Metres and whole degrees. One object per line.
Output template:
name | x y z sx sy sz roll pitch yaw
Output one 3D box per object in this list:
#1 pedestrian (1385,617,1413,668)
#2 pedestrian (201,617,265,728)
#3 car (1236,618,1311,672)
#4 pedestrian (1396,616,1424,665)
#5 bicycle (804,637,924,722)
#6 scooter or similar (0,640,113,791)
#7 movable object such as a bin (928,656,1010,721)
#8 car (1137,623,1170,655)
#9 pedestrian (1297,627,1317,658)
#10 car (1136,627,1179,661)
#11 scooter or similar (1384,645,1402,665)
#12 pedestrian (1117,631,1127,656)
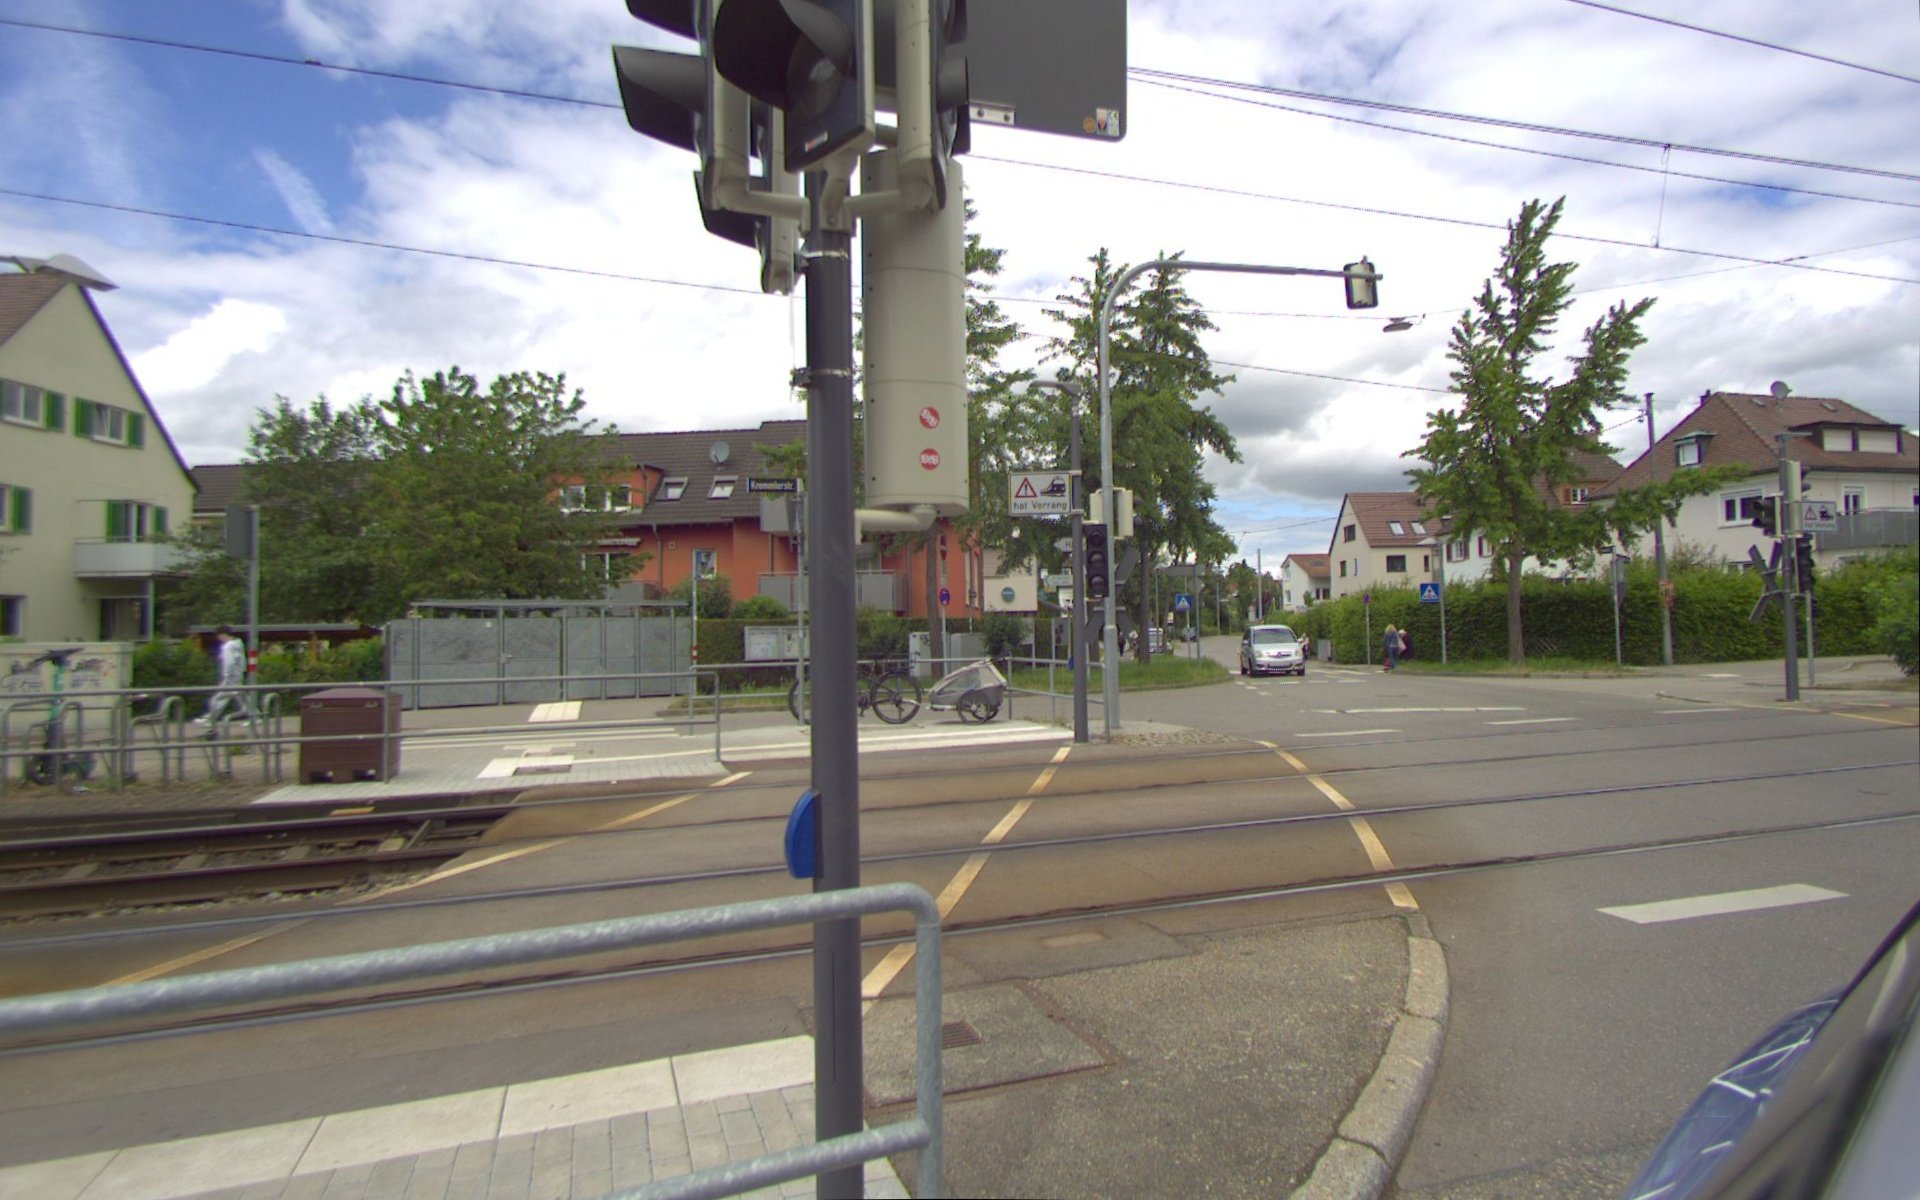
pedestrian | 14.764 1.428 34.047 0.595 1.641 0.668 -6 -4 40
pedestrian | -13.082 1.280 18.222 0.817 1.940 0.624 2 -3 -45
car | 9.970 1.425 32.425 1.699 1.588 3.915 -2 -2 9
pedestrian | 15.406 1.393 34.676 0.595 1.641 0.668 -6 -4 40
bicycle | -1.376 1.137 14.574 1.661 1.171 0.466 -1 -2 2
scooter or similar | -8.579 1.049 9.584 0.479 1.333 1.053 1 -2 -19
movable object such as a bin | 0.132 1.225 14.081 1.075 0.835 0.578 -2 -2 5
car | 13.553 2.727 70.978 1.967 2.040 5.550 -3 -2 9
pedestrian | 17.914 2.178 52.220 0.734 1.551 0.544 -3 -3 -3
car | 10.442 2.299 53.749 1.821 1.658 4.455 -2 -2 7
scooter or similar | 14.915 1.895 34.854 0.398 0.617 0.482 -6 -3 40
pedestrian | 10.978 2.925 68.629 0.667 1.691 0.658 -1 -2 10
